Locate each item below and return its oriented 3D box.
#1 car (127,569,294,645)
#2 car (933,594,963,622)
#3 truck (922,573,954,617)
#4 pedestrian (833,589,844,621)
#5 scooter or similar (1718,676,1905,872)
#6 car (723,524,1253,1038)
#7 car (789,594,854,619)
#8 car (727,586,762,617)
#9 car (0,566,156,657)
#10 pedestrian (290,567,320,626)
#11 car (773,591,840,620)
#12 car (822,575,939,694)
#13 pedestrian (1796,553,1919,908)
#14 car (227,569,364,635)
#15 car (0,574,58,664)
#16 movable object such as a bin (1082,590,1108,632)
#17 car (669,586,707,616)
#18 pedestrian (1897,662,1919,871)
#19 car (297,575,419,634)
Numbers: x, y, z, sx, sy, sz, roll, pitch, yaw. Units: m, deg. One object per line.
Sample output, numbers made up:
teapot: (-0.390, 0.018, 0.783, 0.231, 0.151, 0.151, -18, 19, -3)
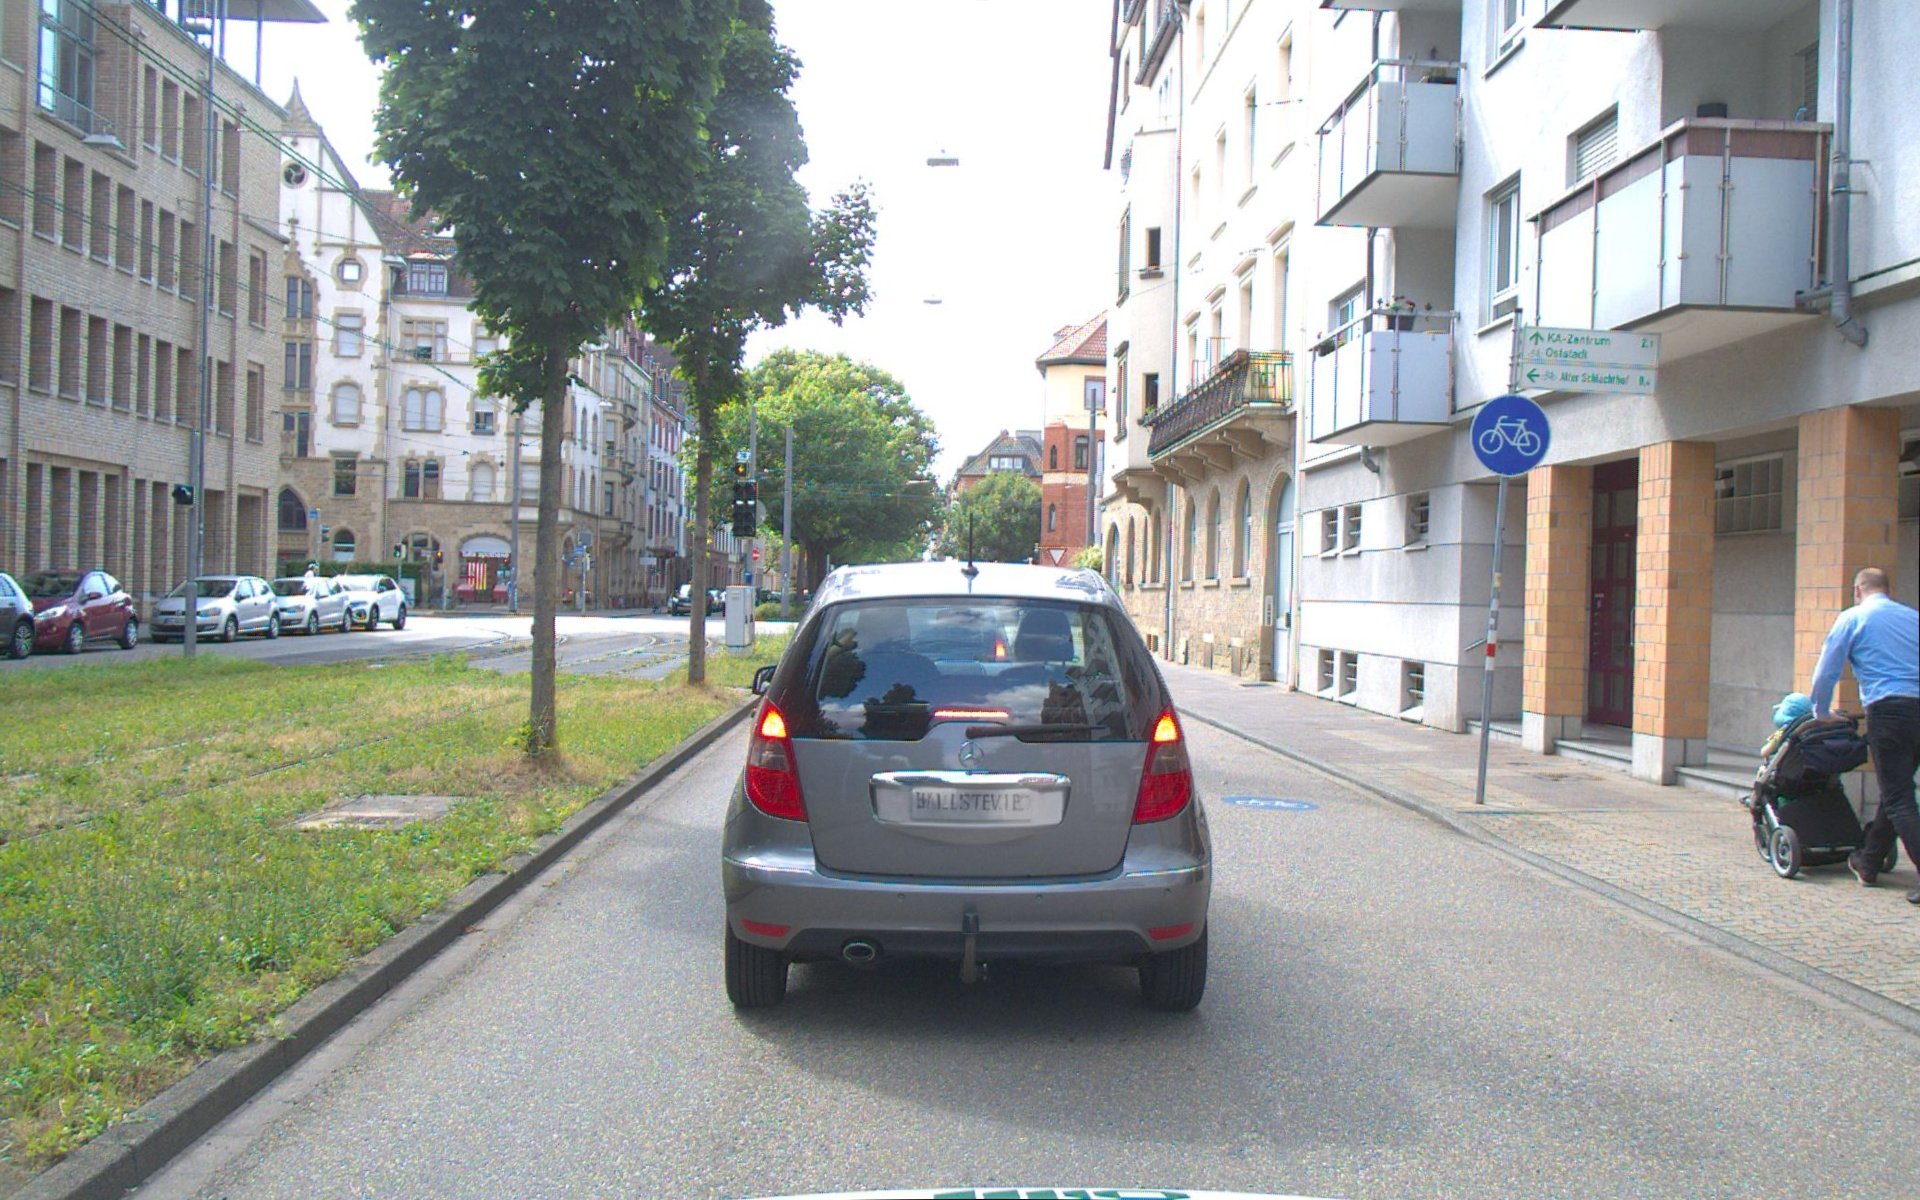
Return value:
car: (-16.639, 0.133, 36.957, 1.813, 1.557, 4.209, 1, 0, -1)
car: (-0.723, 0.502, 103.959, 1.716, 1.661, 3.500, 2, 0, 2)
truck: (-1.543, -0.342, 116.911, 2.079, 3.022, 4.001, 1, 0, 2)
pedestrian: (-6.767, 0.261, 91.745, 0.484, 1.755, 0.652, 2, 0, -12)
scooter or similar: (4.960, 0.991, 9.680, 0.580, 1.019, 0.905, -3, 0, -1)
car: (0.069, 0.583, 7.152, 1.687, 1.633, 3.676, 1, 0, -1)
car: (-8.247, 0.398, 98.453, 1.957, 1.362, 3.941, 2, 0, -41)
car: (-12.625, 0.064, 97.039, 1.955, 1.758, 3.994, 1, 0, -7)
car: (-16.381, 0.182, 30.332, 1.550, 1.557, 3.549, 1, 0, -1)
pedestrian: (-20.508, -0.121, 51.804, 0.751, 1.827, 0.952, 2, 0, -27)
car: (-8.929, 0.313, 95.814, 1.957, 1.521, 3.941, 2, 0, -41)
car: (-1.193, 0.506, 26.141, 1.687, 1.736, 3.676, 1, 0, -1)
pedestrian: (4.971, 0.642, 8.719, 0.608, 1.769, 0.877, -2, 0, -1)
car: (-16.907, 0.037, 42.298, 1.893, 1.557, 4.014, 1, 0, -1)
car: (-16.170, 0.282, 25.788, 1.893, 1.420, 4.238, 1, 0, -1)
movable object such as a bin: (4.853, 0.392, 59.656, 0.701, 1.497, 0.980, 1, 0, -10)
car: (-15.679, 0.041, 95.454, 1.955, 1.646, 3.994, 1, 0, -7)
pedestrian: (5.553, 0.926, 9.119, 0.447, 1.154, 0.494, -2, 0, -1)
car: (-16.970, 0.114, 46.825, 1.893, 1.561, 4.257, 1, 0, -1)
